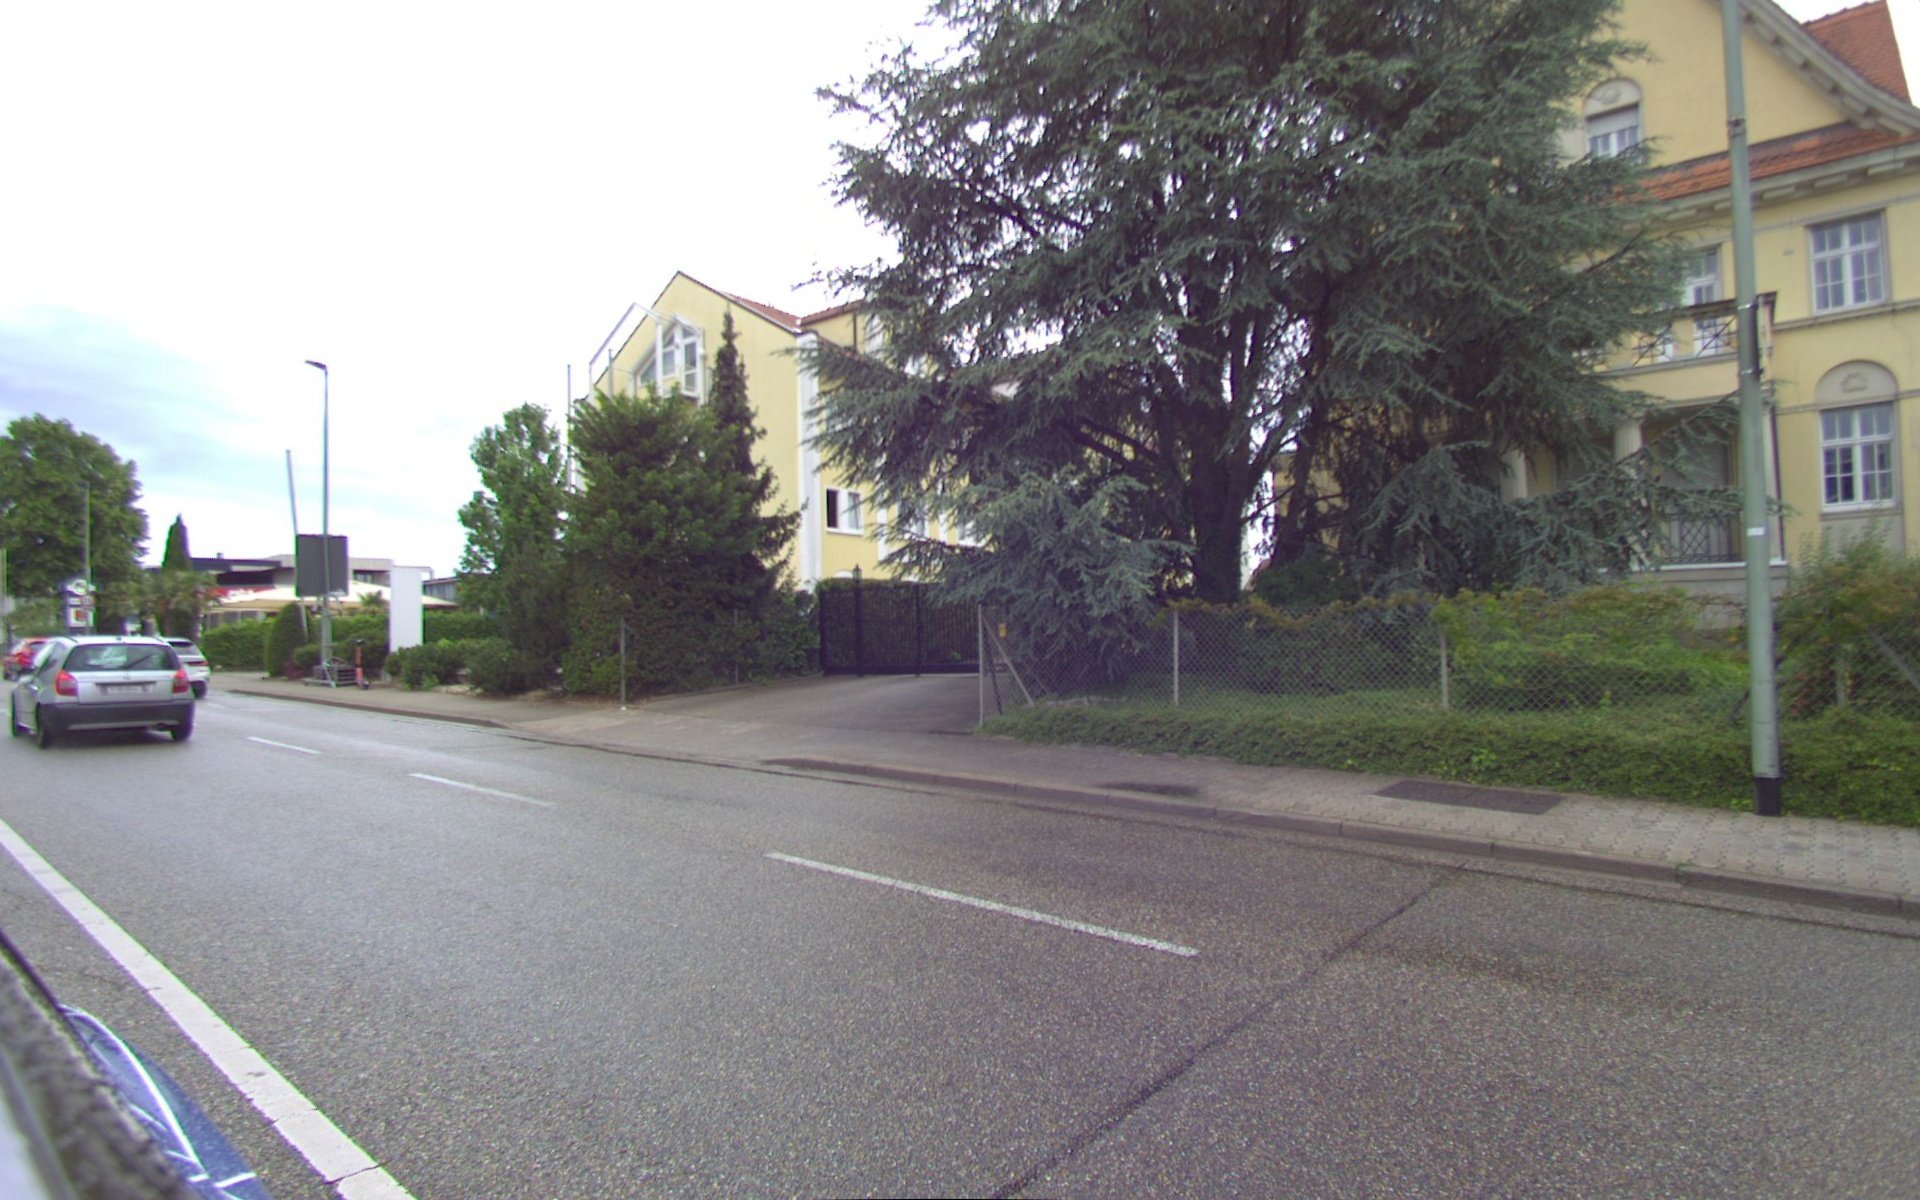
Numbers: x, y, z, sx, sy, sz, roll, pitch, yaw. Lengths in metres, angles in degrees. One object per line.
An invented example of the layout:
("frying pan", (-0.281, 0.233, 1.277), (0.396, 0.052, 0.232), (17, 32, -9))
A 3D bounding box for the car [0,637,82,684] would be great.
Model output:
("car", (-31.623, 2.032, 34.723), (3.777, 1.487, 1.678), (-1, -2, 40))

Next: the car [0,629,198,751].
("car", (-12.177, 1.156, 14.214), (3.516, 1.471, 1.622), (-1, -2, 41))

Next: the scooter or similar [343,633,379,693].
("scooter or similar", (-14.869, 1.533, 25.099), (0.498, 1.416, 1.884), (1, -2, -39))

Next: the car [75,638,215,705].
("car", (-19.663, 1.648, 24.358), (4.428, 1.471, 1.767), (-2, -2, 40))
